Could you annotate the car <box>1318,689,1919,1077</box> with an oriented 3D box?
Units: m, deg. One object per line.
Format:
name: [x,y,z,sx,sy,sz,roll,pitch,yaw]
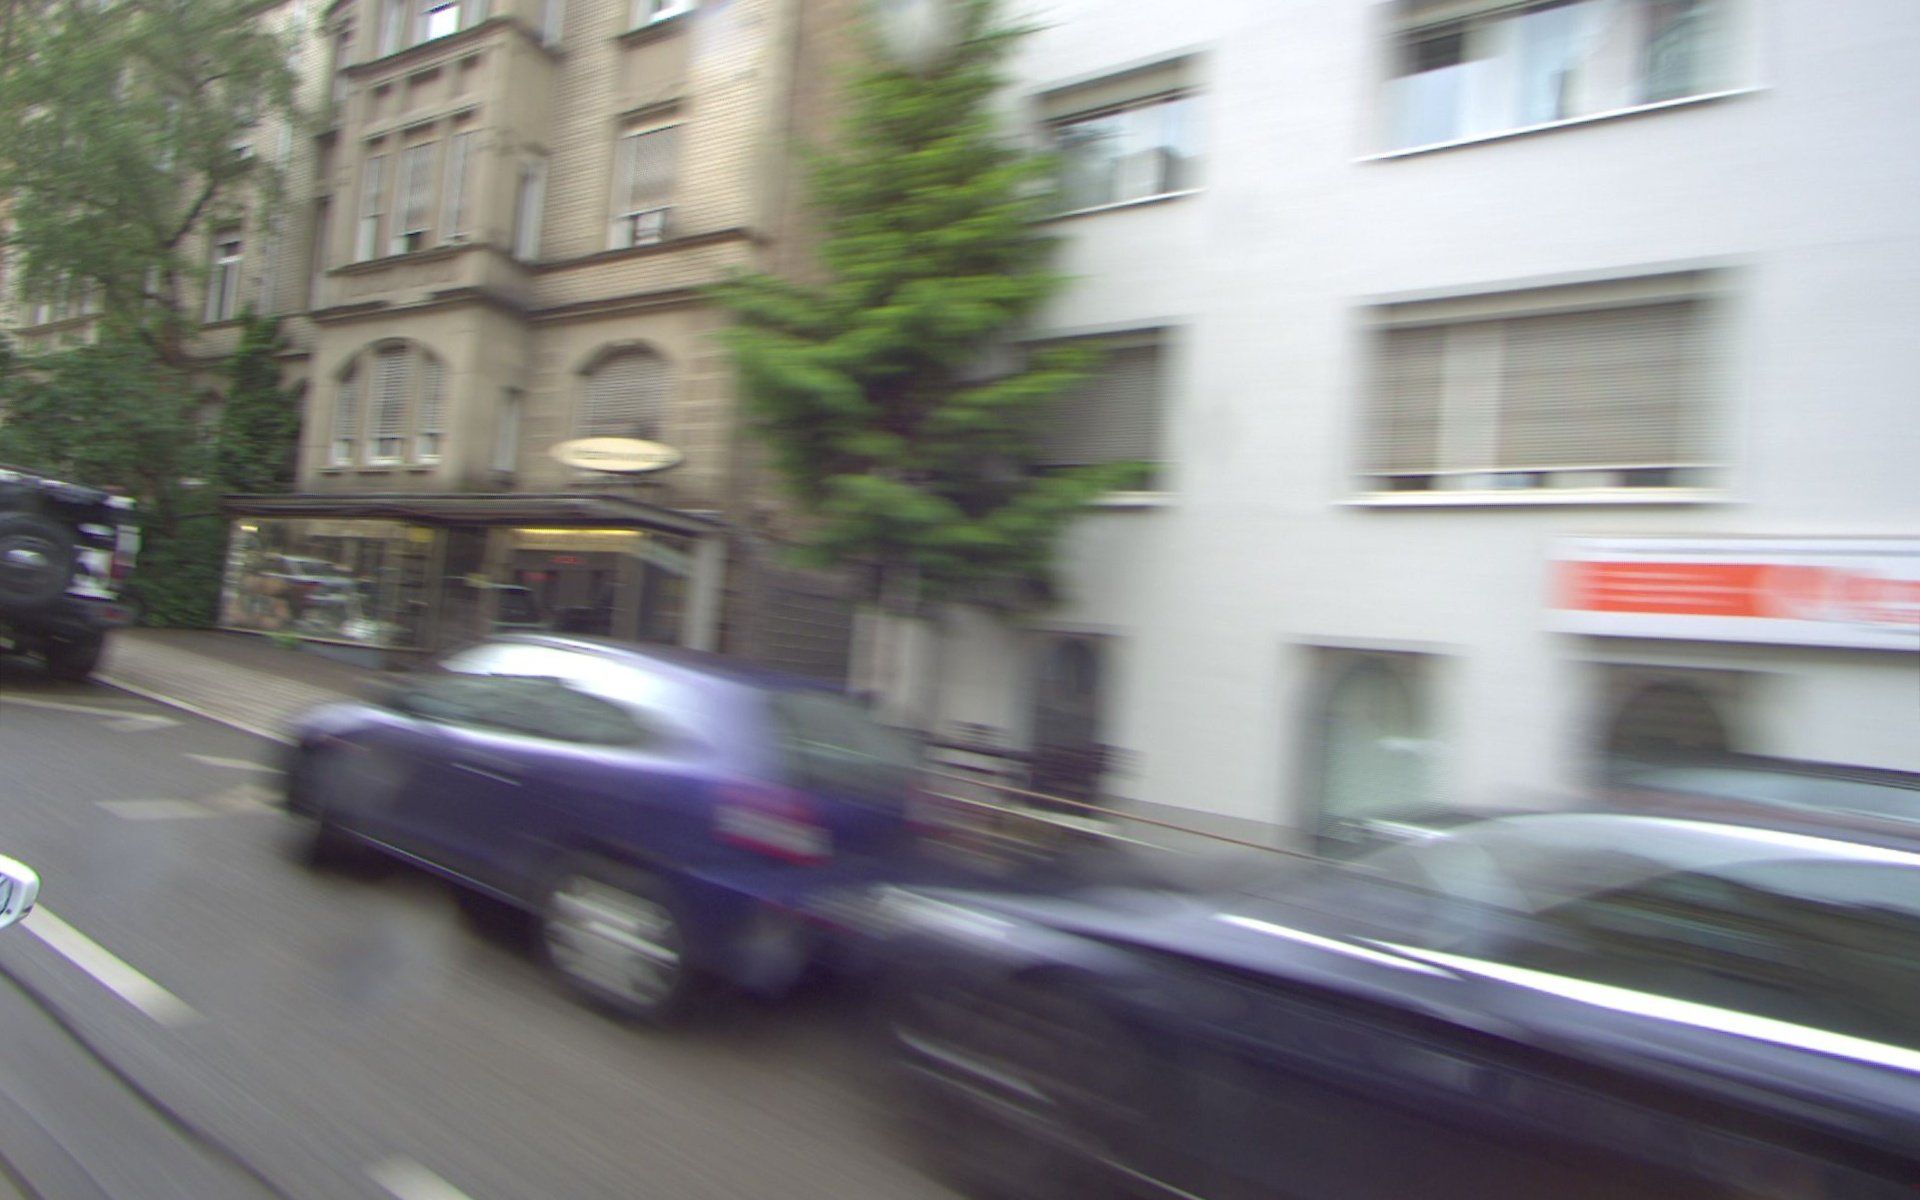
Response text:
car: [4.544,1.608,5.948,4.091,1.441,1.816,6,-5,38]

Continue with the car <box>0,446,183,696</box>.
car: [-10.369,-0.524,9.859,5.257,2.034,2.138,7,-4,28]

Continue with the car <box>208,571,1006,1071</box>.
car: [-1.908,0.808,5.083,3.819,1.352,1.682,7,-4,33]

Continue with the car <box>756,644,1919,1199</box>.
car: [1.811,1.198,2.759,4.535,1.452,1.799,7,-4,33]
